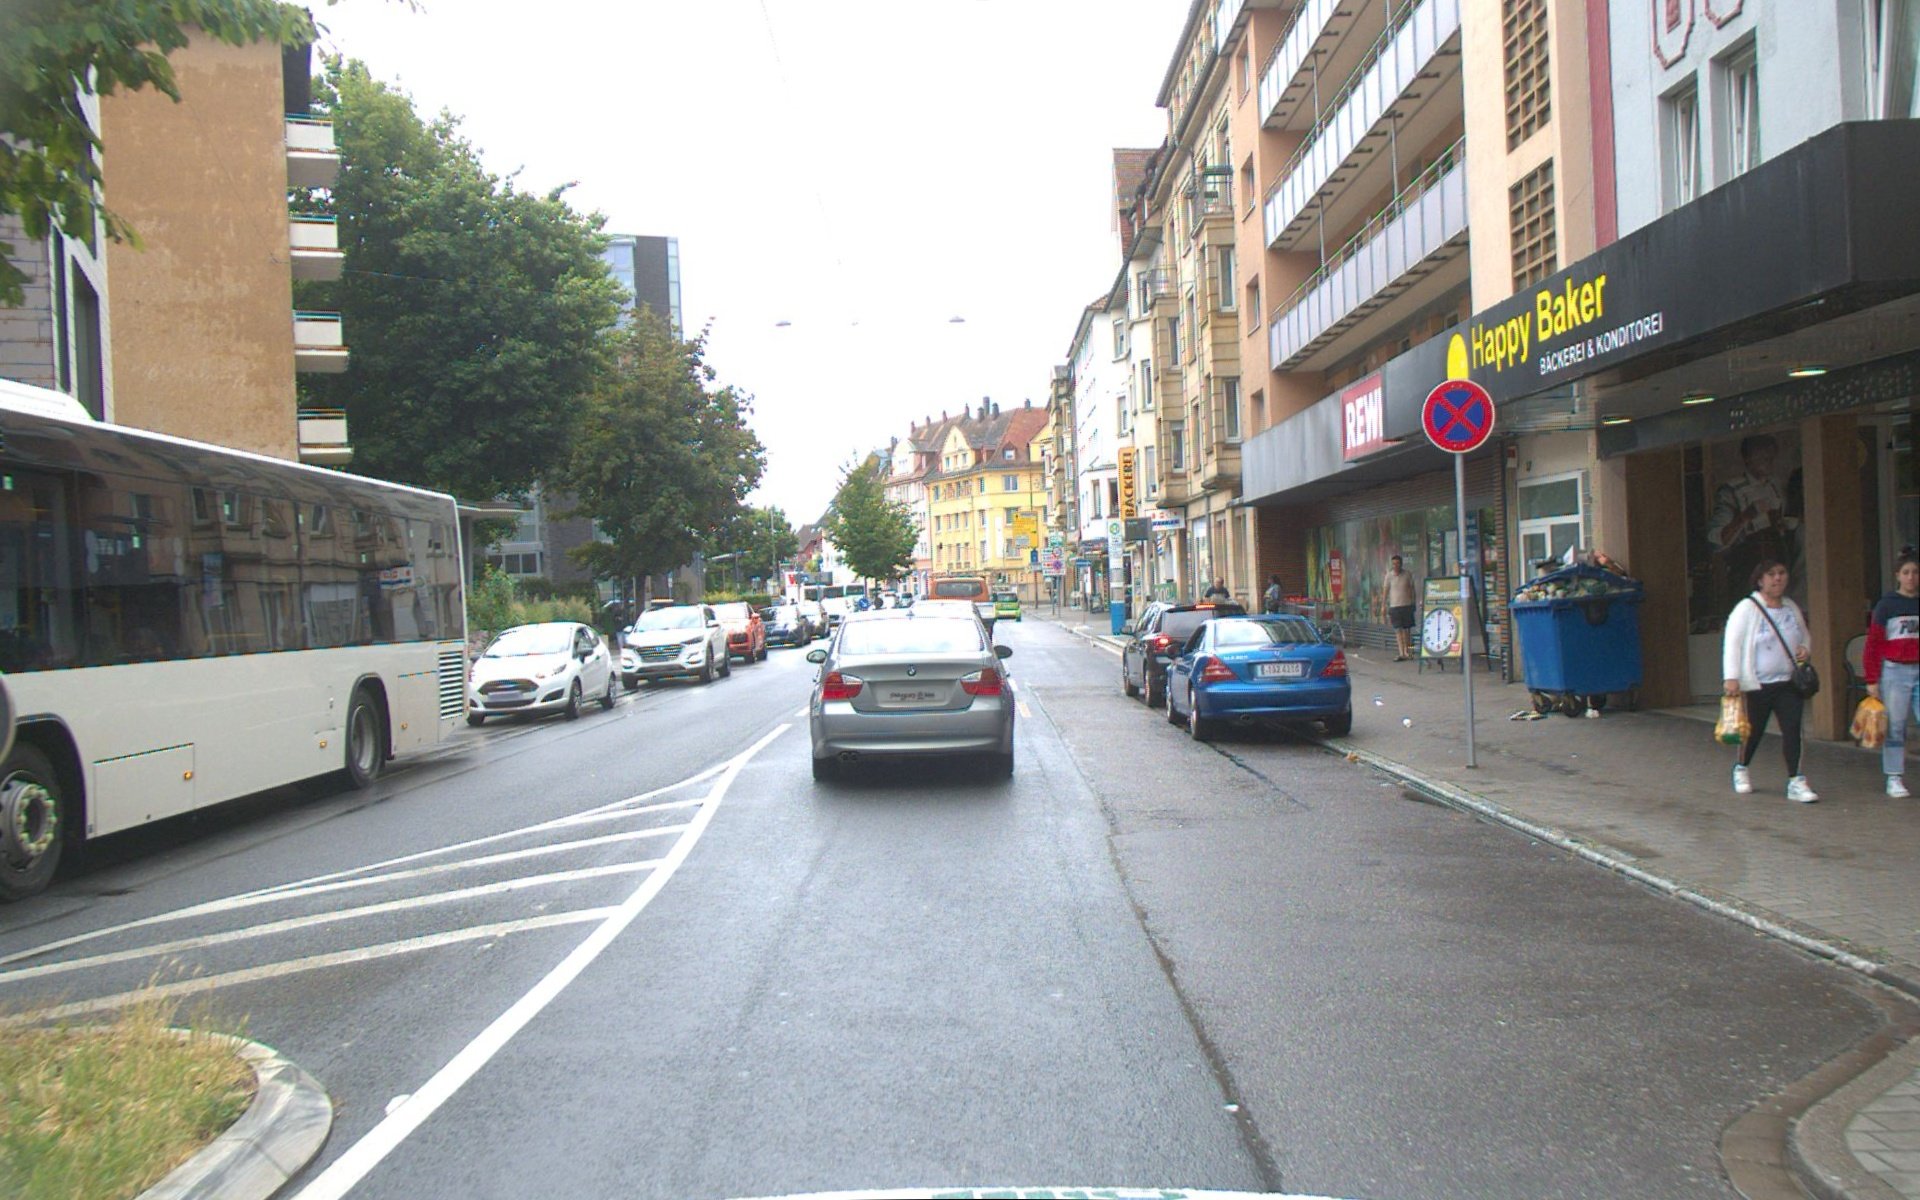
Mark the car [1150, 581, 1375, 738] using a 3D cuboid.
[{"bbox_3d":[3.296,0.625,18.760,1.772,1.545,3.999,1,-1,-1],"label":"car"}]

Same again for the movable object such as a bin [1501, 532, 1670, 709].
[{"bbox_3d":[6.568,0.234,17.462,1.100,1.732,1.433,-3,-2,-2],"label":"movable object such as a bin"}]

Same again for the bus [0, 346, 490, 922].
[{"bbox_3d":[-6.776,0.203,13.081,2.627,3.255,11.955,-4,1,-1],"label":"bus"}]

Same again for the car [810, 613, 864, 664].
[{"bbox_3d":[-5.078,1.622,68.882,1.953,2.049,3.999,0,-2,-1],"label":"car"}]

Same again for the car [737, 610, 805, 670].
[{"bbox_3d":[-6.681,1.447,58.750,1.953,2.049,3.999,0,-2,-1],"label":"car"}]

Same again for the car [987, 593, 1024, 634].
[{"bbox_3d":[2.379,0.745,87.311,1.670,2.049,3.998,1,-2,-2],"label":"car"}]

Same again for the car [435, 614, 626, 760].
[{"bbox_3d":[-6.625,1.328,25.956,1.953,2.049,3.999,-1,-2,-1],"label":"car"}]

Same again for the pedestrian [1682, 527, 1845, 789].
[{"bbox_3d":[5.393,0.386,11.151,0.733,1.690,0.837,0,-2,7],"label":"pedestrian"}]

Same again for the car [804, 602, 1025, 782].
[{"bbox_3d":[-0.349,0.731,14.581,1.720,1.386,3.164,-1,0,0],"label":"car"}]

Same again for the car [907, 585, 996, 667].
[{"bbox_3d":[-0.192,0.524,31.027,1.569,1.445,3.286,1,-2,-2],"label":"car"}]

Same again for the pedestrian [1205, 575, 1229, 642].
[{"bbox_3d":[5.557,0.182,35.795,0.511,1.446,0.430,0,-2,9],"label":"pedestrian"}]

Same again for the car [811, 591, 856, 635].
[{"bbox_3d":[-6.220,0.693,81.823,1.953,2.049,3.999,0,-2,-1],"label":"car"}]

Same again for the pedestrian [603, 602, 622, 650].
[{"bbox_3d":[-15.119,1.133,71.972,0.783,2.049,0.534,1,-2,-13],"label":"pedestrian"}]

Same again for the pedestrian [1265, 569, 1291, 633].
[{"bbox_3d":[7.372,0.039,38.297,0.552,1.446,0.797,0,-2,13],"label":"pedestrian"}]

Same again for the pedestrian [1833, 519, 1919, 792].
[{"bbox_3d":[6.141,0.356,10.590,0.734,1.690,0.755,0,-2,7],"label":"pedestrian"}]

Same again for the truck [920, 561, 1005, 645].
[{"bbox_3d":[0.010,0.130,45.881,2.171,2.154,4.650,2,-2,-2],"label":"truck"}]

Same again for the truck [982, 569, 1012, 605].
[{"bbox_3d":[2.853,-0.960,127.875,2.171,2.589,4.778,0,-2,0],"label":"truck"}]

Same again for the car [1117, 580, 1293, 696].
[{"bbox_3d":[3.491,0.579,24.299,1.953,1.546,3.999,-1,-2,-1],"label":"car"}]

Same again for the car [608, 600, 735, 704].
[{"bbox_3d":[-5.989,1.106,34.793,1.953,2.049,3.999,1,-2,-1],"label":"car"}]

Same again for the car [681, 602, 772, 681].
[{"bbox_3d":[-6.374,1.159,45.572,1.953,2.049,3.999,0,-2,-1],"label":"car"}]

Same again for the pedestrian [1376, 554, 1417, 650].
[{"bbox_3d":[7.785,0.042,29.513,0.602,1.690,0.755,0,-2,7],"label":"pedestrian"}]
